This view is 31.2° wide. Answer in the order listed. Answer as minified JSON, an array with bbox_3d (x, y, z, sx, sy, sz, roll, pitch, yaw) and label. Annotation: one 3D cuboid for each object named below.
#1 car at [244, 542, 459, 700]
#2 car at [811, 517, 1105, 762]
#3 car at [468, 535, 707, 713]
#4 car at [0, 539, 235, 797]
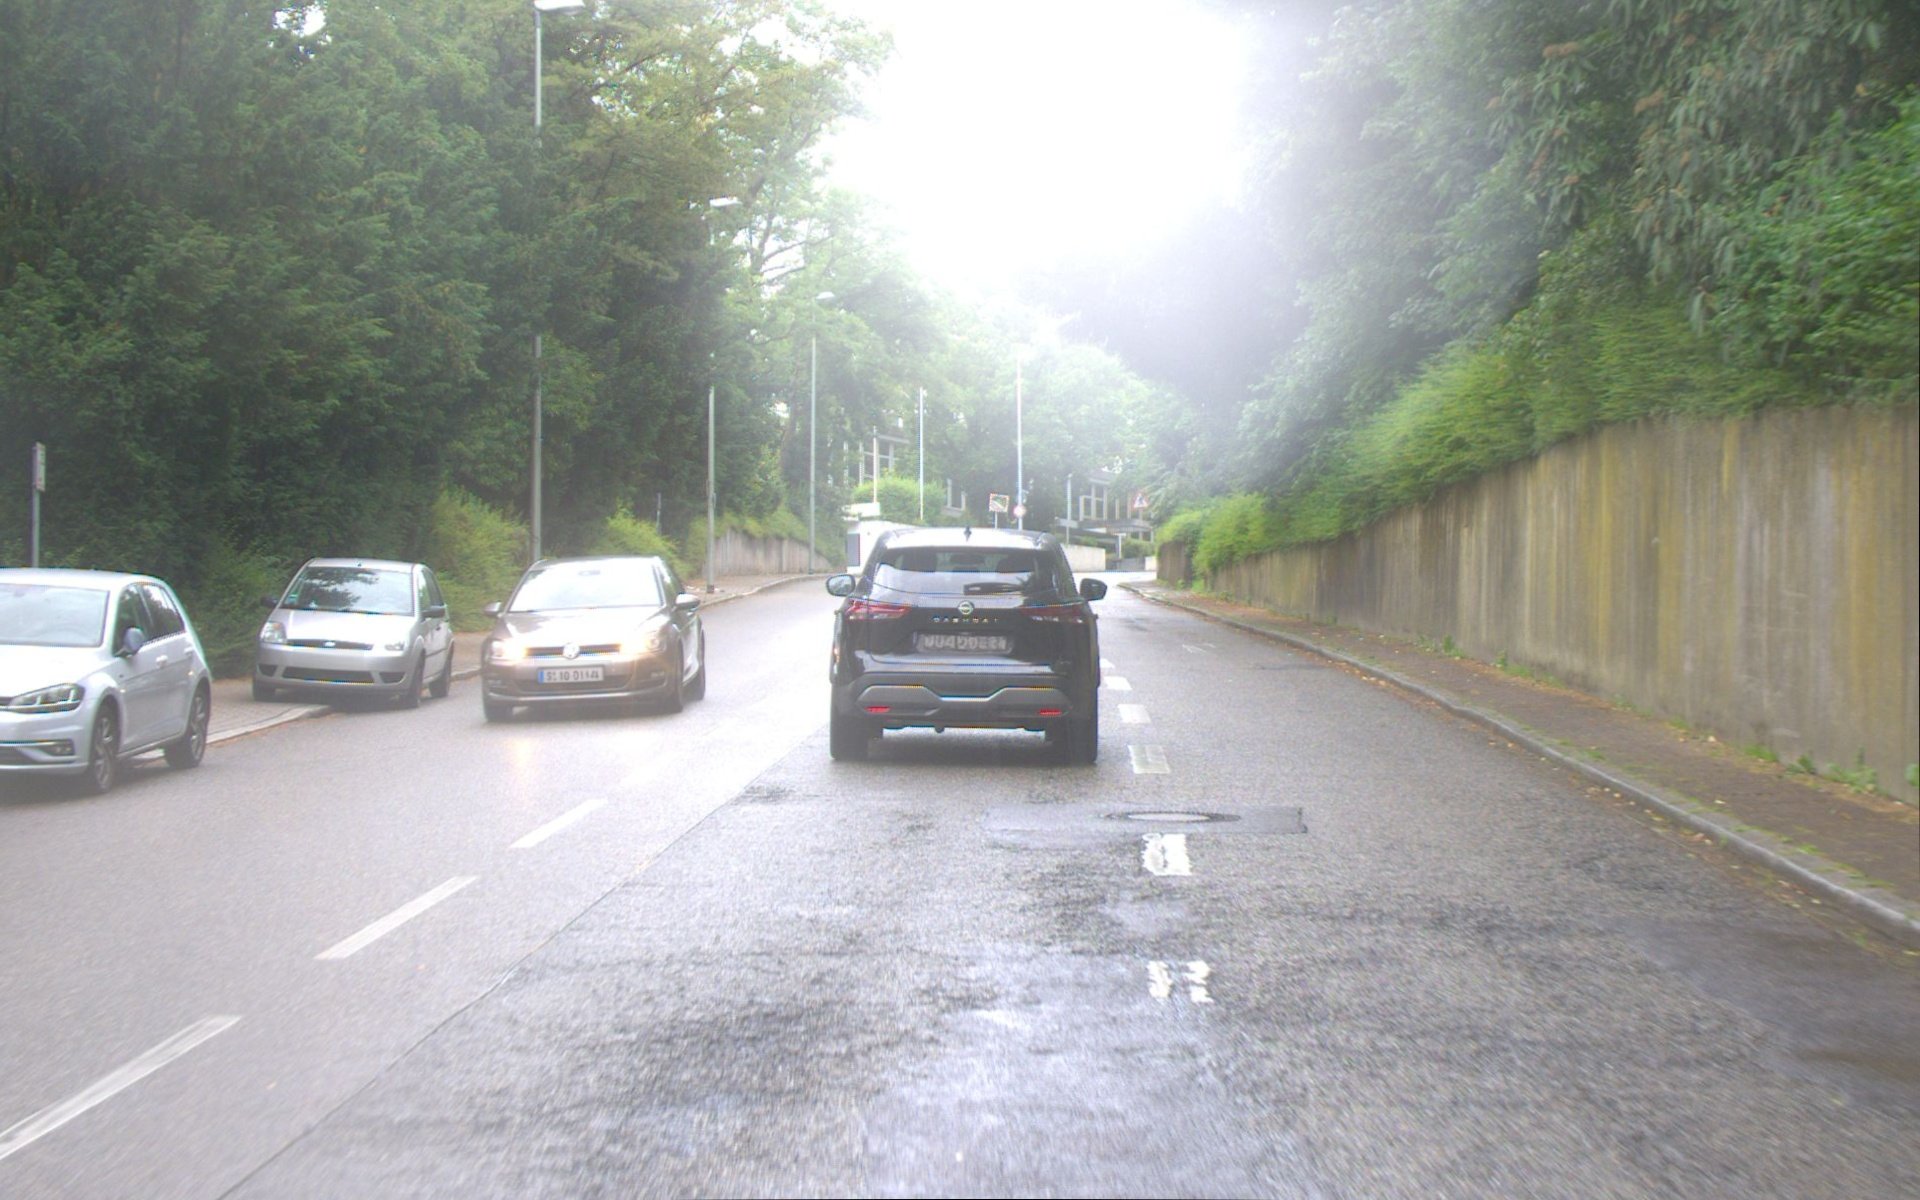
[{"bbox_3d":[-6.243,0.173,35.629,1.626,1.494,3.929,2,1,-2],"label":"car"},{"bbox_3d":[-0.002,0.220,24.550,1.928,1.607,4.000,0,1,0],"label":"car"},{"bbox_3d":[-3.392,0.171,31.923,1.761,1.486,4.000,-2,1,0],"label":"car"},{"bbox_3d":[-6.528,0.431,24.013,1.886,1.606,4.239,-3,1,1],"label":"car"}]
